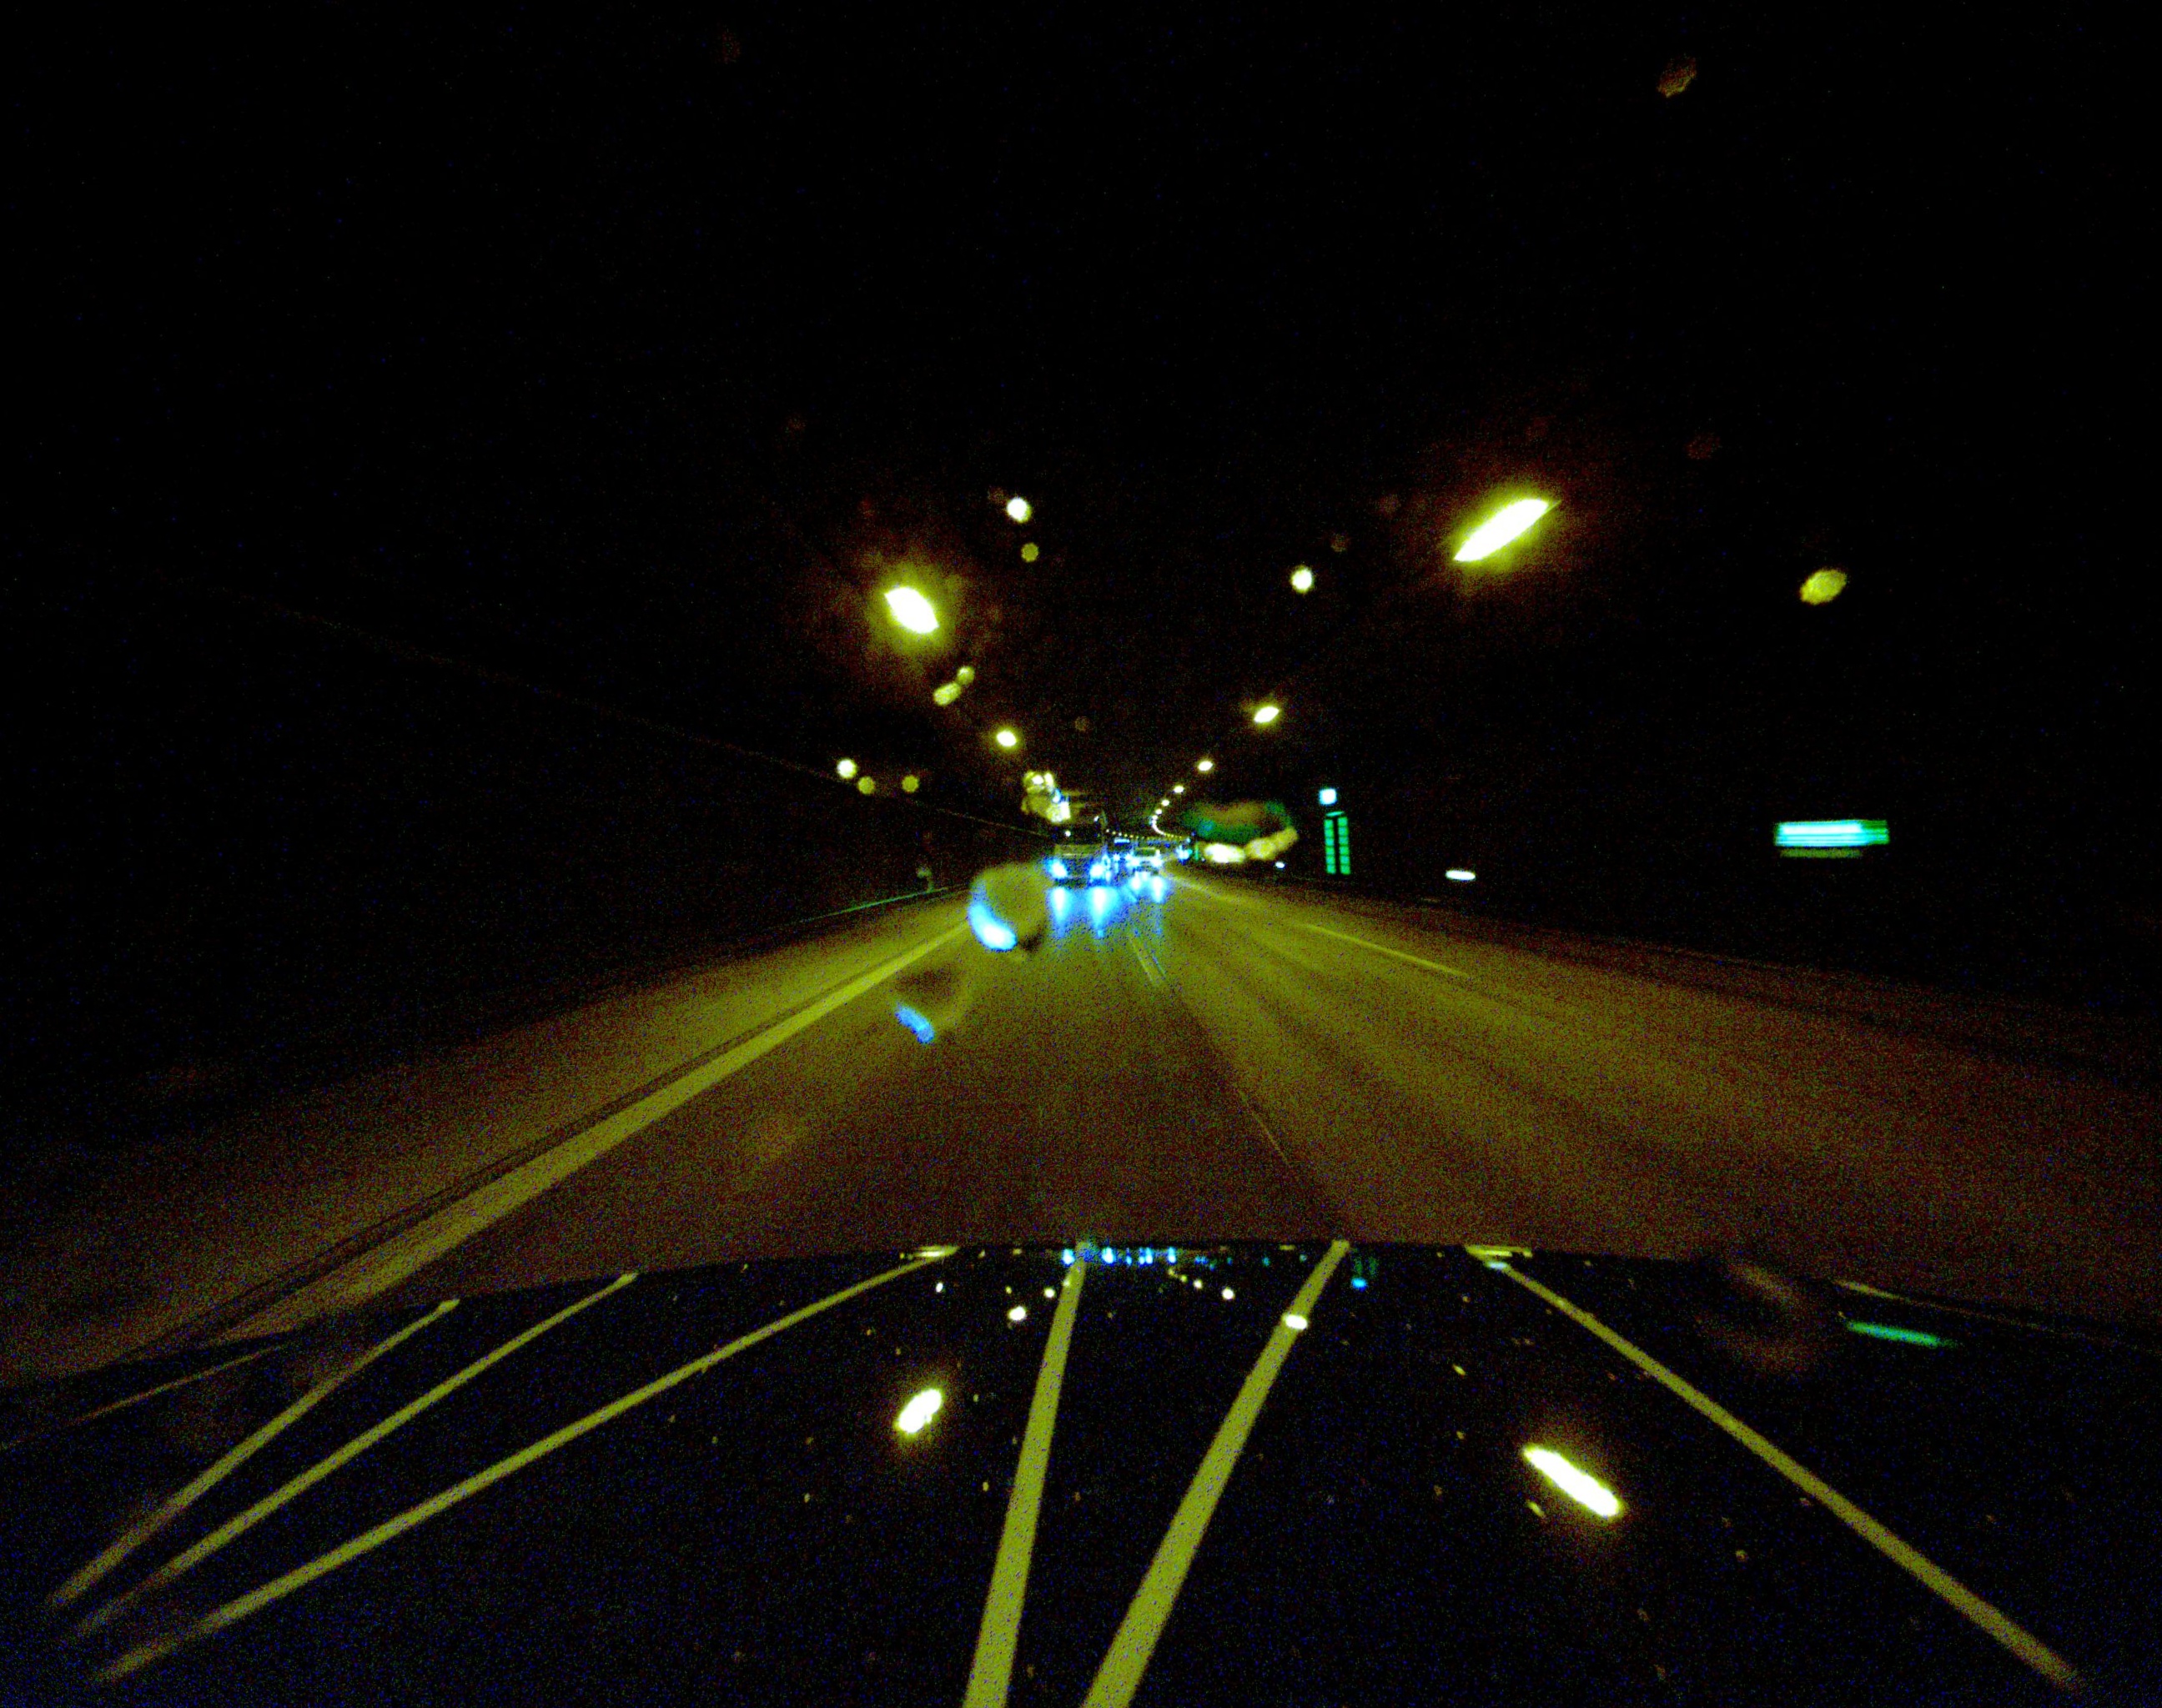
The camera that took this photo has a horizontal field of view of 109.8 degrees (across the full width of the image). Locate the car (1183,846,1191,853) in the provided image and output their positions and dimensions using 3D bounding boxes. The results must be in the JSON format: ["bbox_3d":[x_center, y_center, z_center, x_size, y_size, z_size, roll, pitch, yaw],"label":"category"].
[{"bbox_3d":[31.369,-1.300,224.733,1.996,1.788,4.003,-1,1,13],"label":"car"}]

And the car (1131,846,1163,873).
[{"bbox_3d":[4.829,0.389,56.153,1.998,1.890,4.000,-1,0,1],"label":"car"}]

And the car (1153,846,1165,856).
[{"bbox_3d":[14.396,-0.627,140.191,1.997,1.788,4.002,-1,1,9],"label":"car"}]

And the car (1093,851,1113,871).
[{"bbox_3d":[2.182,0.661,73.410,1.839,1.849,4.288,1,1,2],"label":"car"}]

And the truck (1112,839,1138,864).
[{"bbox_3d":[7.127,-0.502,122.290,2.898,3.819,9.003,-1,1,11],"label":"truck"}]

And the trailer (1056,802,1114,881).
[{"bbox_3d":[0.515,-0.696,47.285,2.626,4.139,14.004,-2,0,4],"label":"trailer"}]

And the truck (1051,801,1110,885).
[{"bbox_3d":[0.077,-0.549,40.969,2.652,4.139,6.006,-1,1,4],"label":"truck"}]
